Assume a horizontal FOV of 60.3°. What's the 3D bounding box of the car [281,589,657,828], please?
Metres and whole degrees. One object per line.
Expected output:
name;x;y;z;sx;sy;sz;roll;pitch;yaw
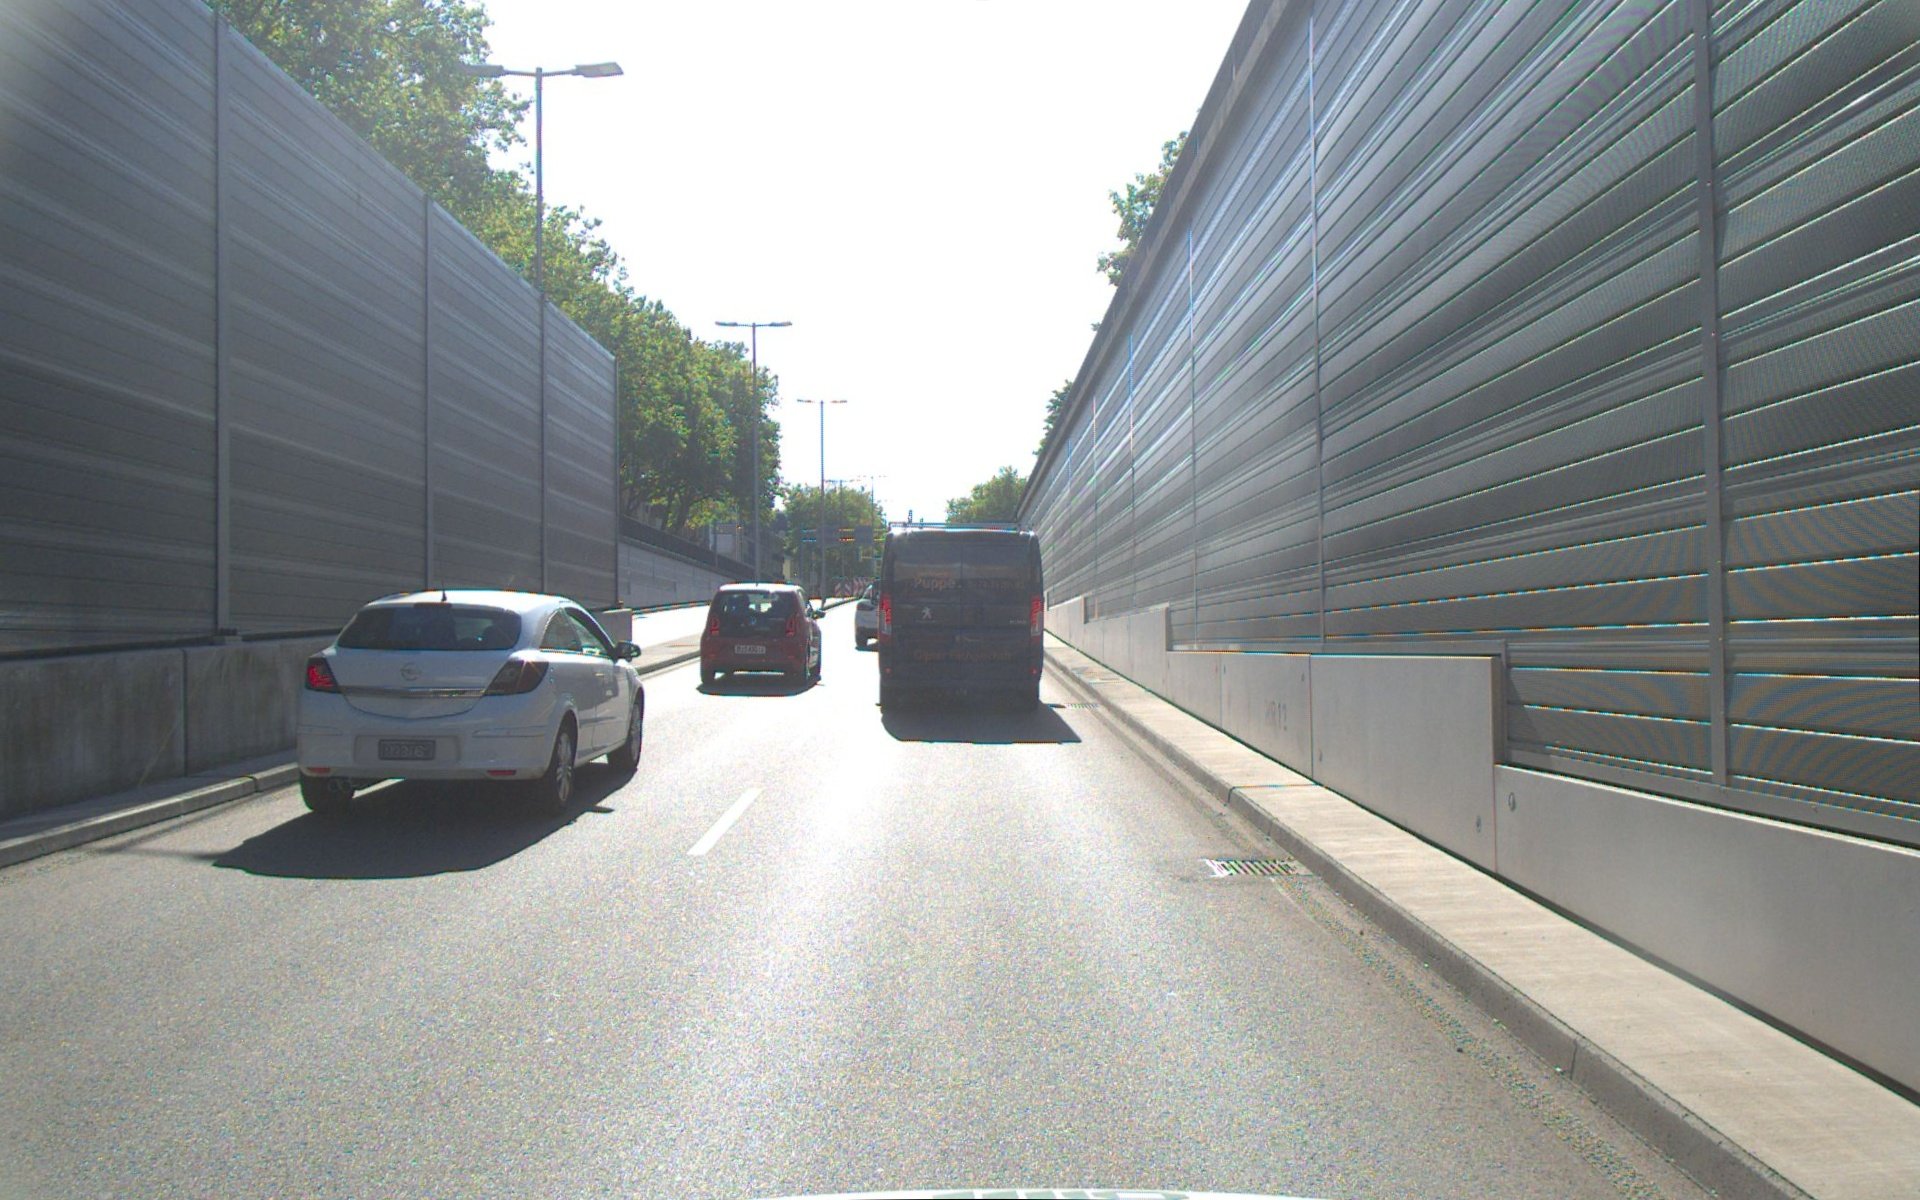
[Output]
car;-3.324;0.654;11.949;1.586;1.428;3.851;1;0;-1

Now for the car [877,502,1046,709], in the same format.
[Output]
car;0.008;0.062;21.505;1.988;2.444;3.972;0;0;0

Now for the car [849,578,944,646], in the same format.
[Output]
car;-1.439;0.238;39.037;1.852;1.500;3.993;1;1;3

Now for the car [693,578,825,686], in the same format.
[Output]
car;-3.023;0.443;25.464;1.654;1.509;3.318;1;1;-1
